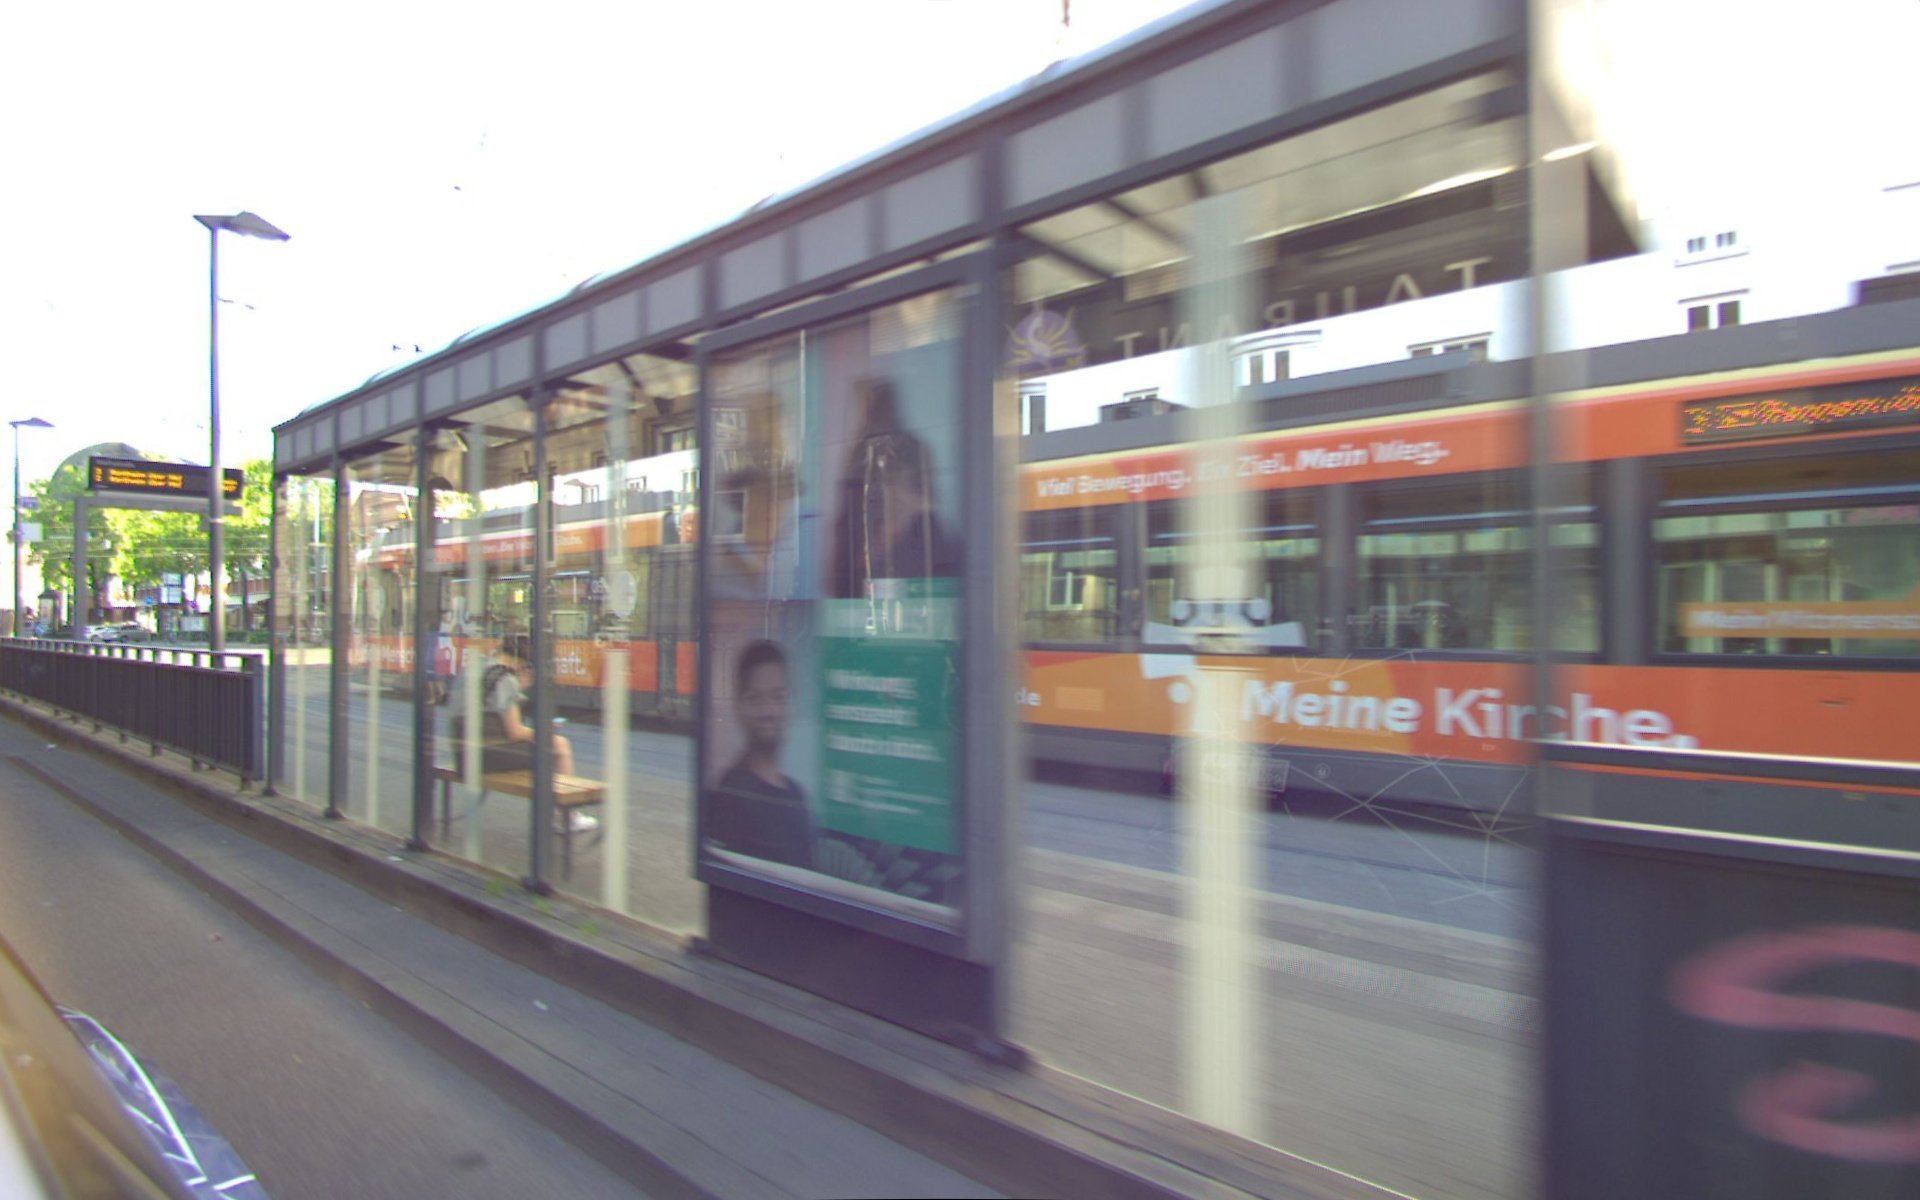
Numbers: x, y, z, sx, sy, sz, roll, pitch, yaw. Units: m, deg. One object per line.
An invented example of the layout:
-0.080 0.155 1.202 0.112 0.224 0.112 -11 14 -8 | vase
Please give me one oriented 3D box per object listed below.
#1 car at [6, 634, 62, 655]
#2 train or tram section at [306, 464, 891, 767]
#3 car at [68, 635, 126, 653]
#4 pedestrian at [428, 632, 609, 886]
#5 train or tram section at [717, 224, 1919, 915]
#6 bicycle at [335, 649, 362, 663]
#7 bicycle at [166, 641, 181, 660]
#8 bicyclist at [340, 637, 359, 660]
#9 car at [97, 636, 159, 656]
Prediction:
-95.701 4.597 104.644 1.888 1.979 3.994 -1 0 5 | car
-7.257 0.261 17.462 14.157 3.516 2.856 -1 -1 40 | train or tram section
-80.095 4.042 93.998 1.777 1.486 3.989 -1 0 8 | car
-2.252 0.756 5.182 0.536 1.185 0.677 -2 -2 41 | pedestrian
3.790 -0.126 7.962 14.939 3.516 2.856 -1 -1 41 | train or tram section
-40.657 3.728 67.270 2.262 0.934 0.832 -2 -3 40 | bicycle
-54.374 3.507 69.967 0.574 1.244 1.858 0 -1 -44 | bicycle
-40.577 3.235 67.222 0.895 1.478 0.832 -2 -3 39 | bicyclist
-71.509 3.915 87.080 1.777 1.566 3.989 -1 0 8 | car
